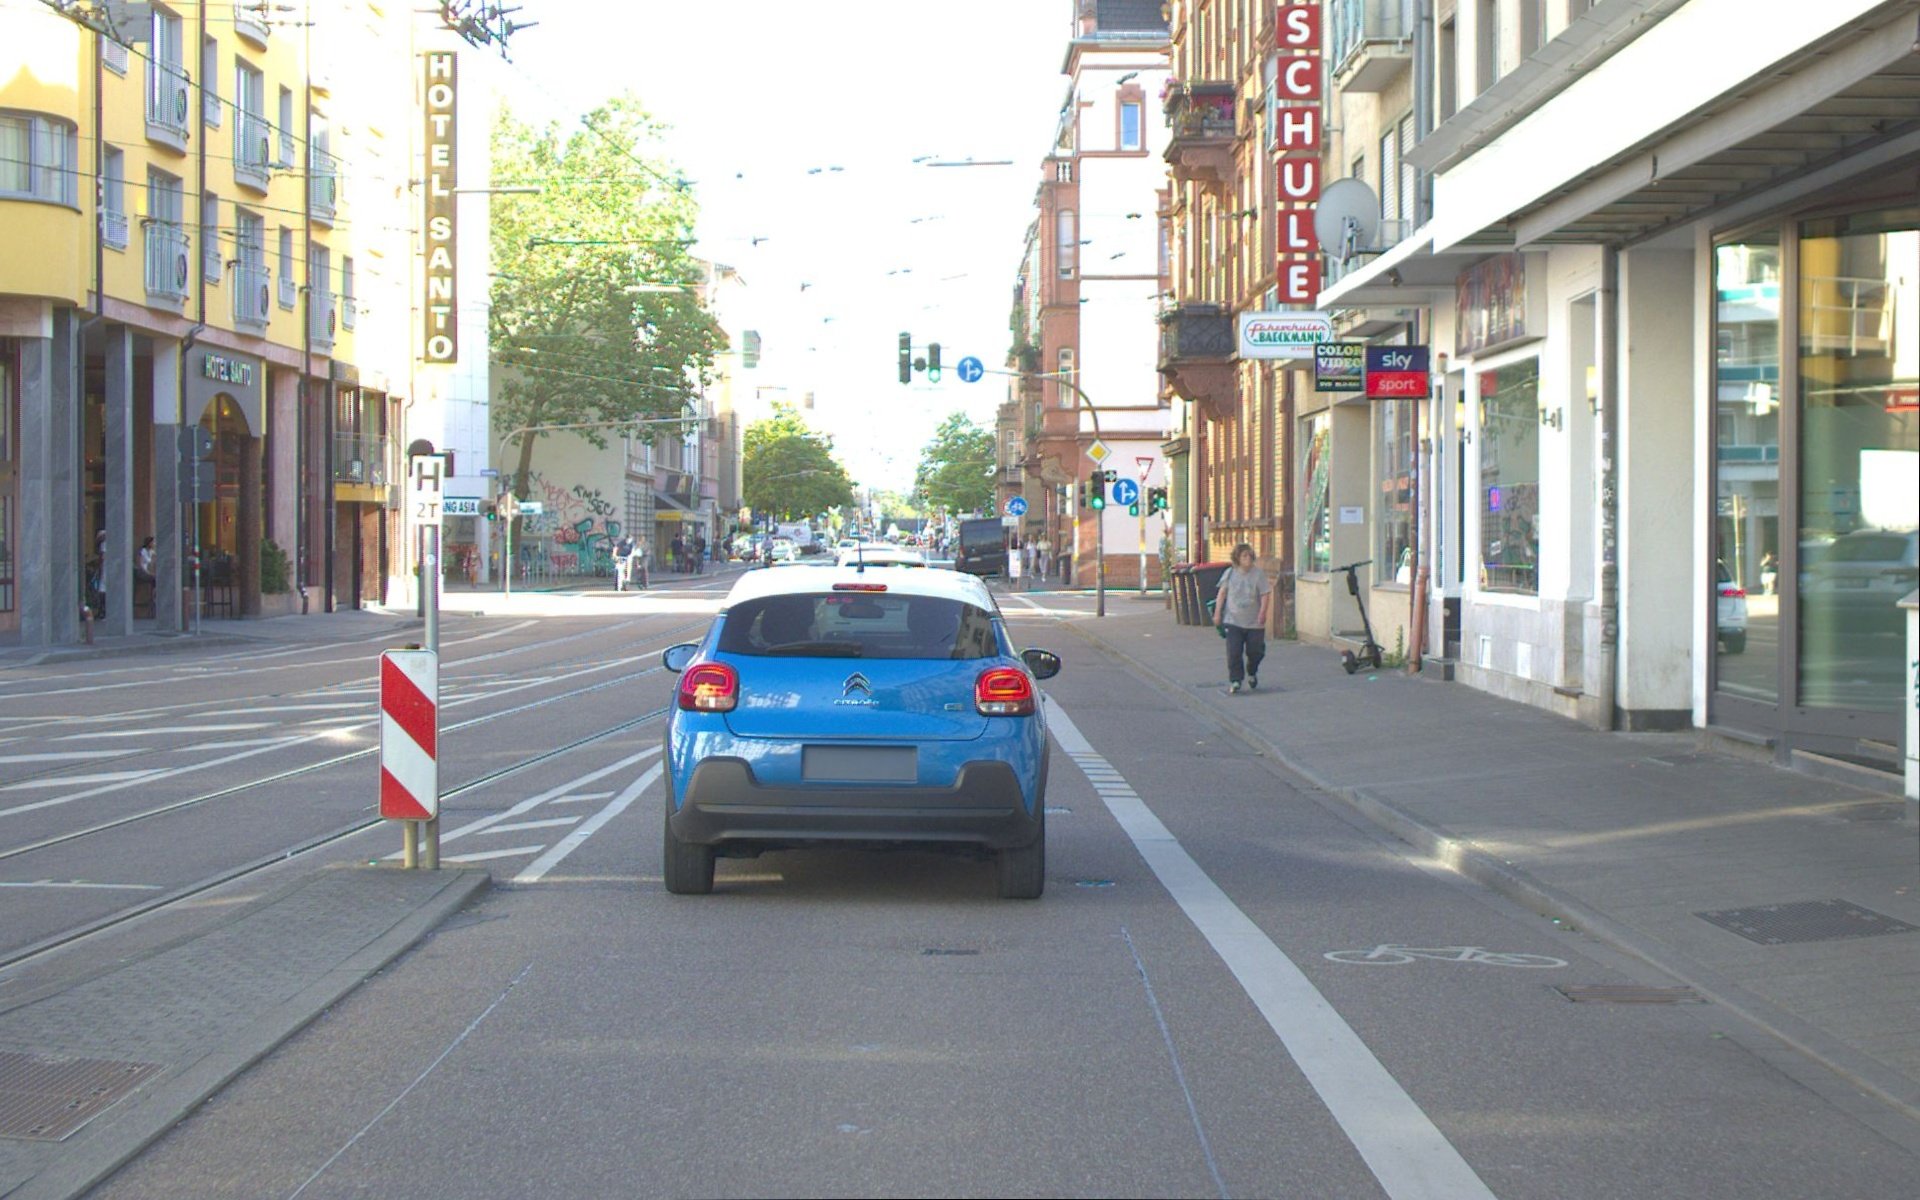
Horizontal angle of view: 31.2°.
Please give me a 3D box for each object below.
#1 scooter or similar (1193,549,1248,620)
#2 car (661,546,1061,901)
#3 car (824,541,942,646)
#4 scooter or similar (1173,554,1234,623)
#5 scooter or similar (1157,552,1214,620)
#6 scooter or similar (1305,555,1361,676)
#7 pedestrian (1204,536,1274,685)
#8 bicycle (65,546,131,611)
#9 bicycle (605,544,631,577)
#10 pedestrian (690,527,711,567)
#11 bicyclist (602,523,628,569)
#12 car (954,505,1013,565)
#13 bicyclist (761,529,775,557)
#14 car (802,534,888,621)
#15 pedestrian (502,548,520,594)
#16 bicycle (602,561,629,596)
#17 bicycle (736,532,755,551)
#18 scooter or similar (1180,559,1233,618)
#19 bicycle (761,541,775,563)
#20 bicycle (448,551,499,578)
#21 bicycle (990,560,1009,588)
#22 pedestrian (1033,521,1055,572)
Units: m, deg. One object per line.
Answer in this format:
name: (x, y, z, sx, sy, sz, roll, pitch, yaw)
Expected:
scooter or similar: (4.469, -0.272, 59.021, 0.790, 1.144, 0.790, -4, 1, -2)
car: (-0.421, 0.496, 16.637, 1.674, 1.472, 4.000, 1, 1, 0)
car: (-1.157, -0.125, 50.823, 1.667, 1.473, 4.000, 0, 1, -2)
scooter or similar: (4.301, -0.213, 60.654, 0.933, 1.144, 0.650, -4, 1, -2)
scooter or similar: (4.047, -0.251, 61.760, 0.897, 1.144, 0.547, -4, 1, -2)
scooter or similar: (4.049, 0.155, 37.279, 0.410, 1.277, 1.283, 0, 1, 15)
pedestrian: (2.949, 0.106, 36.358, 0.648, 1.555, 0.781, 0, 1, -2)
bicycle: (-16.208, -0.422, 64.687, 0.581, 1.198, 2.080, 0, 1, 4)
bicycle: (-11.307, -1.311, 113.611, 0.730, 1.062, 2.062, 0, 1, -2)
pedestrian: (-11.542, -2.362, 152.832, 0.682, 1.759, 1.025, 0, 1, 10)
bicyclist: (-10.734, -1.681, 106.955, 0.724, 1.376, 1.228, 1, 2, -2)
car: (0.944, -2.682, 141.749, 2.271, 2.428, 5.720, 0, 1, -1)
bicyclist: (-9.980, -2.971, 178.716, 0.682, 1.478, 0.778, 0, 1, -2)
car: (-2.724, -0.559, 81.731, 1.993, 2.007, 4.000, 0, 1, -2)
pedestrian: (-15.104, -0.986, 115.702, 0.542, 1.547, 0.516, 0, 1, -2)
bicycle: (-10.730, -0.680, 107.135, 0.730, 1.084, 2.062, 0, 1, -2)
bicycle: (-14.586, -3.977, 233.414, 1.120, 1.315, 3.645, 0, 1, -6)
scooter or similar: (4.309, -0.206, 60.072, 0.790, 0.954, 0.680, -4, 1, -2)
bicycle: (-9.988, -2.498, 178.883, 0.692, 1.116, 2.084, 0, 1, -2)
bicycle: (-18.948, -1.381, 133.975, 1.918, 1.031, 0.664, 1, 1, 26)
bicycle: (1.394, -0.922, 121.527, 0.431, 0.944, 1.764, 0, 1, -8)
pedestrian: (3.010, -1.919, 123.664, 0.705, 1.776, 0.673, 2, 0, -2)
